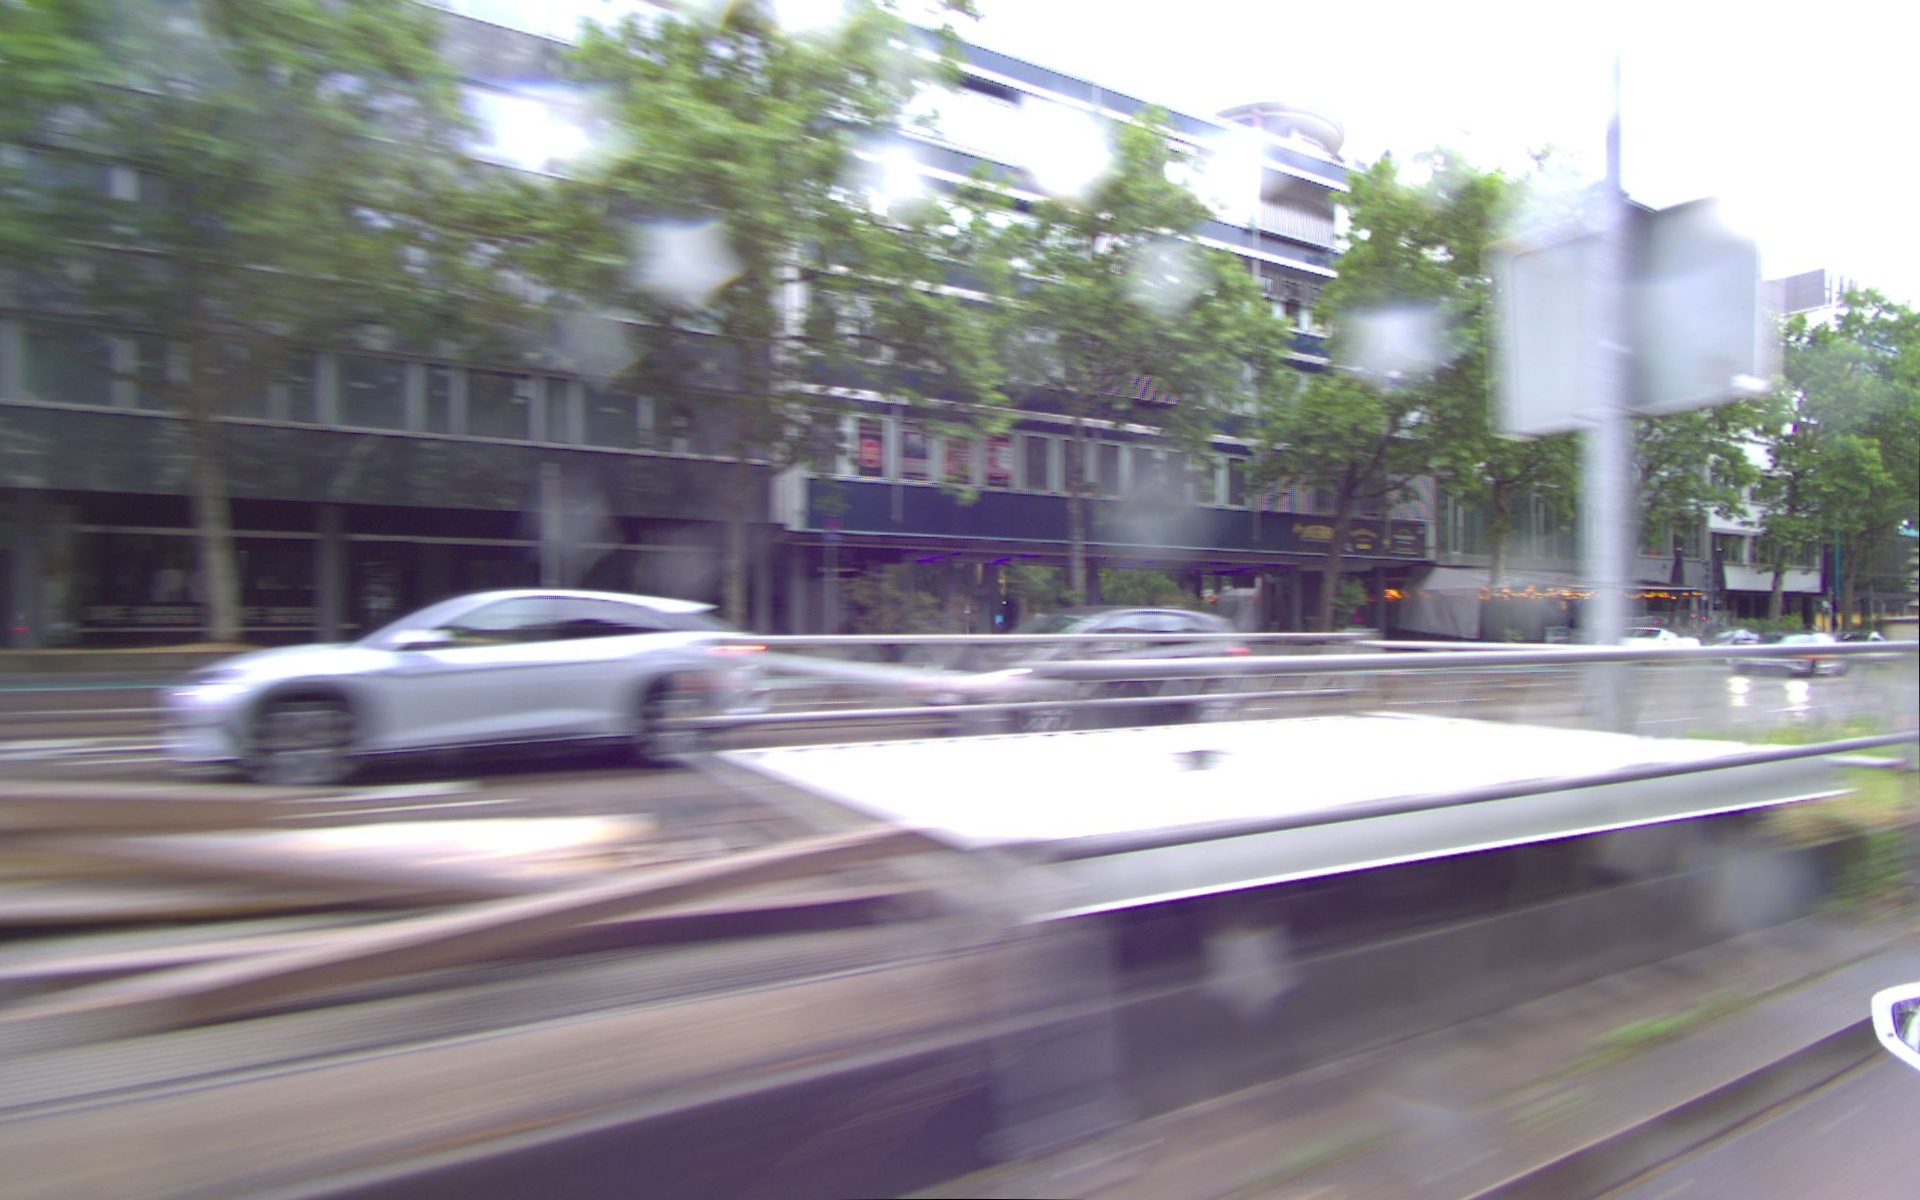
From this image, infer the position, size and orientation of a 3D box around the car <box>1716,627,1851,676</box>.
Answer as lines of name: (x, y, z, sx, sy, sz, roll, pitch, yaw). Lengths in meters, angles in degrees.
car: (26.156, 1.586, 31.845, 4.904, 1.428, 1.955, 1, -1, -33)

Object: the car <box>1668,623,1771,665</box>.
car: (29.548, 1.676, 39.076, 3.953, 1.528, 1.828, 1, -1, -30)

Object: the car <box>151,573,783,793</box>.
car: (-4.199, 0.646, 9.227, 4.774, 1.594, 1.727, 1, -1, -30)

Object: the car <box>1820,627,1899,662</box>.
car: (40.353, 1.966, 45.061, 3.419, 1.488, 1.685, 1, -1, -30)

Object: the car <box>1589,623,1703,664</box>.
car: (24.901, 1.543, 36.423, 4.627, 1.371, 1.552, 1, 1, -30)

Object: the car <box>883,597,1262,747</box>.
car: (1.473, 0.801, 12.538, 4.490, 1.573, 1.904, 1, -1, -32)
